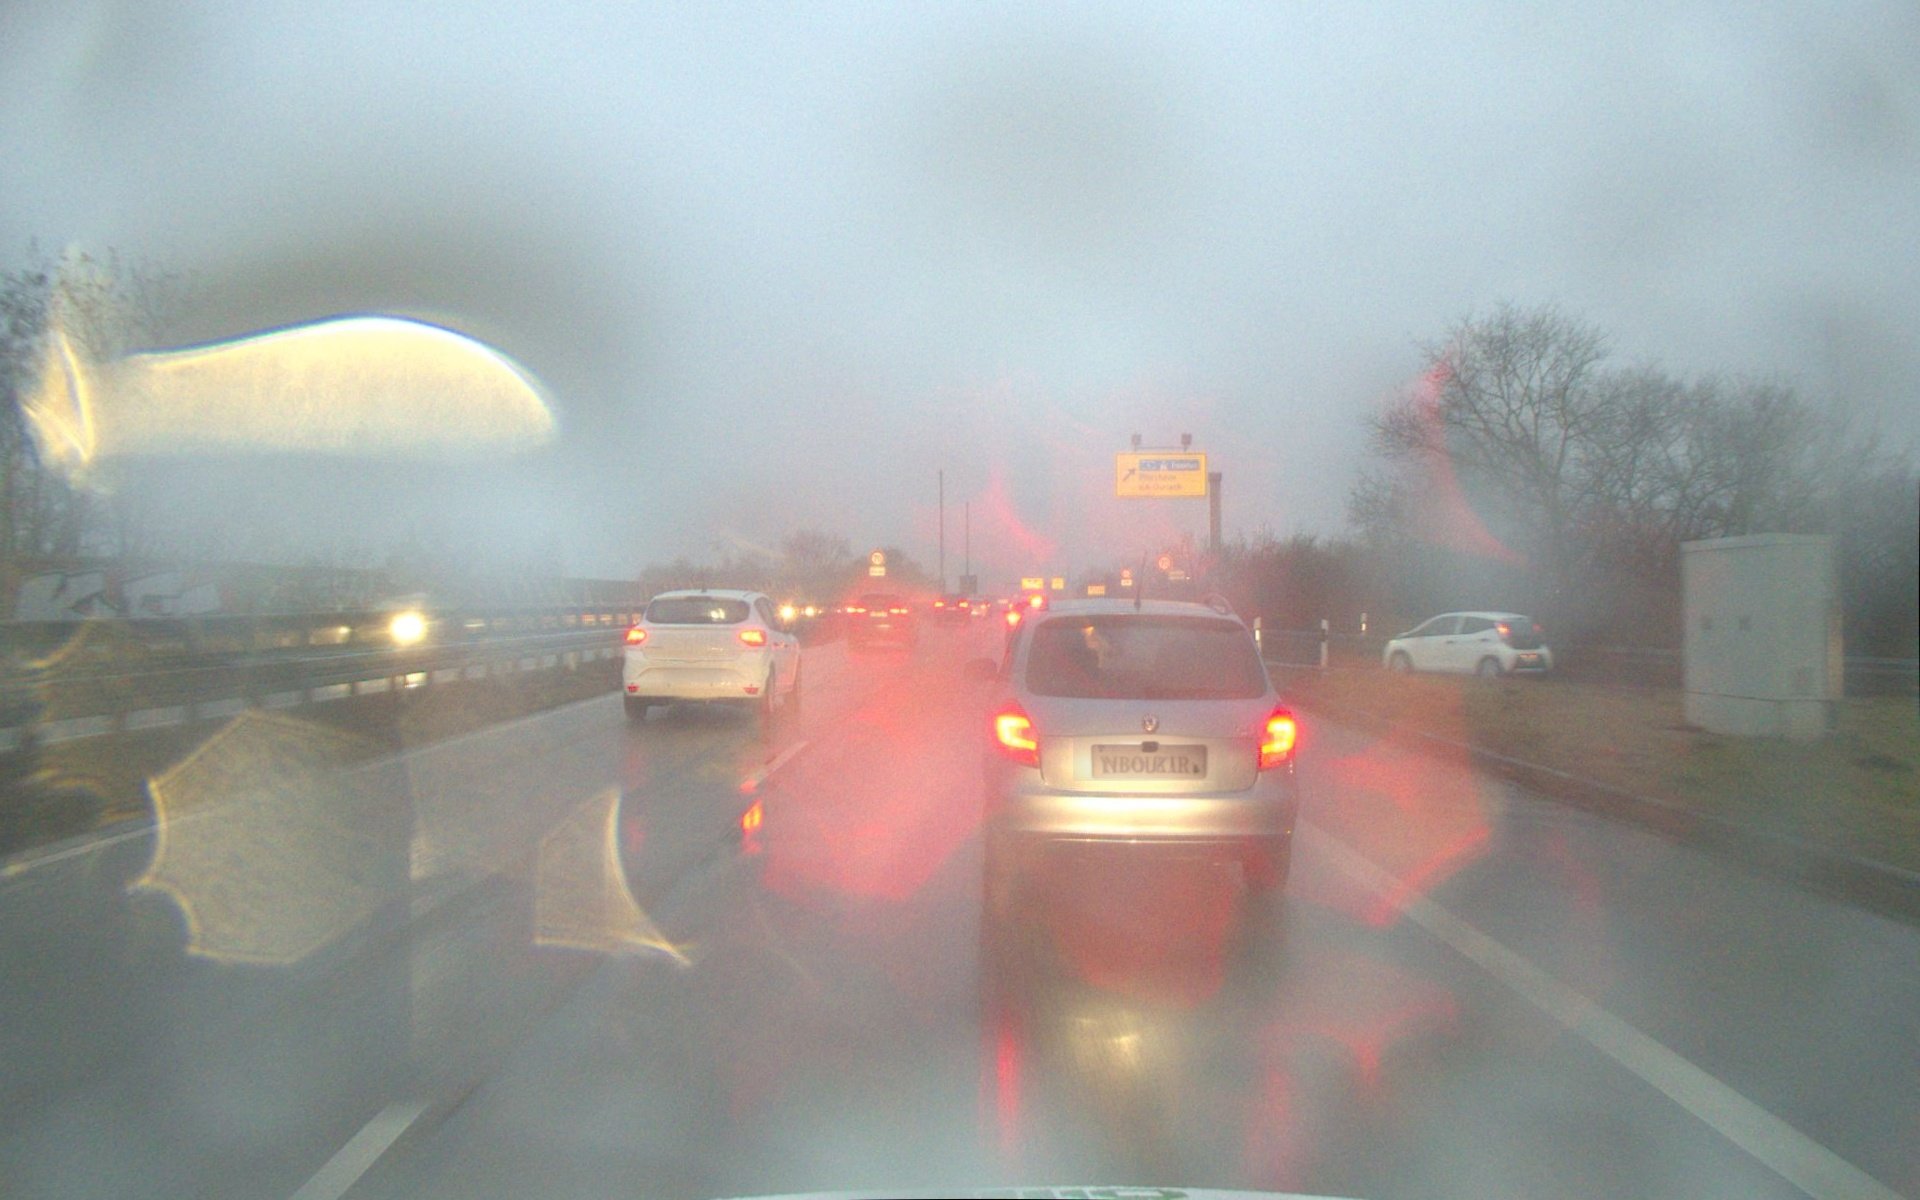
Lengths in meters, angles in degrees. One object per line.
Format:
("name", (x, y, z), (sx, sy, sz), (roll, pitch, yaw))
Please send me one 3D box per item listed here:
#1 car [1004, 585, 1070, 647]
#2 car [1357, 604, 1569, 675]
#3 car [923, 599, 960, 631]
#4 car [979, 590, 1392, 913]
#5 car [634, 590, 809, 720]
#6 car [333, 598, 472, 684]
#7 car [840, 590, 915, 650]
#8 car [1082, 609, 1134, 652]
("car", (2.281, 0.458, 49.937), (1.858, 1.798, 4.309), (0, 0, 1))
("car", (10.613, 0.784, 35.086), (1.978, 1.369, 3.949), (0, 0, -36))
("car", (-0.935, 0.763, 85.374), (1.752, 1.572, 4.001), (-1, 0, 2))
("car", (1.099, 0.728, 9.940), (1.952, 1.527, 4.138), (0, 0, 1))
("car", (-2.902, 0.630, 20.903), (1.689, 1.465, 4.224), (0, 0, -1))
("car", (-13.509, 0.939, 40.339), (1.953, 1.952, 4.286), (1, 0, -1))
("car", (-2.364, 0.565, 48.442), (1.953, 1.629, 4.308), (1, 0, 0))
("car", (5.763, 1.173, 64.575), (1.752, 1.572, 4.001), (0, 0, 1))
